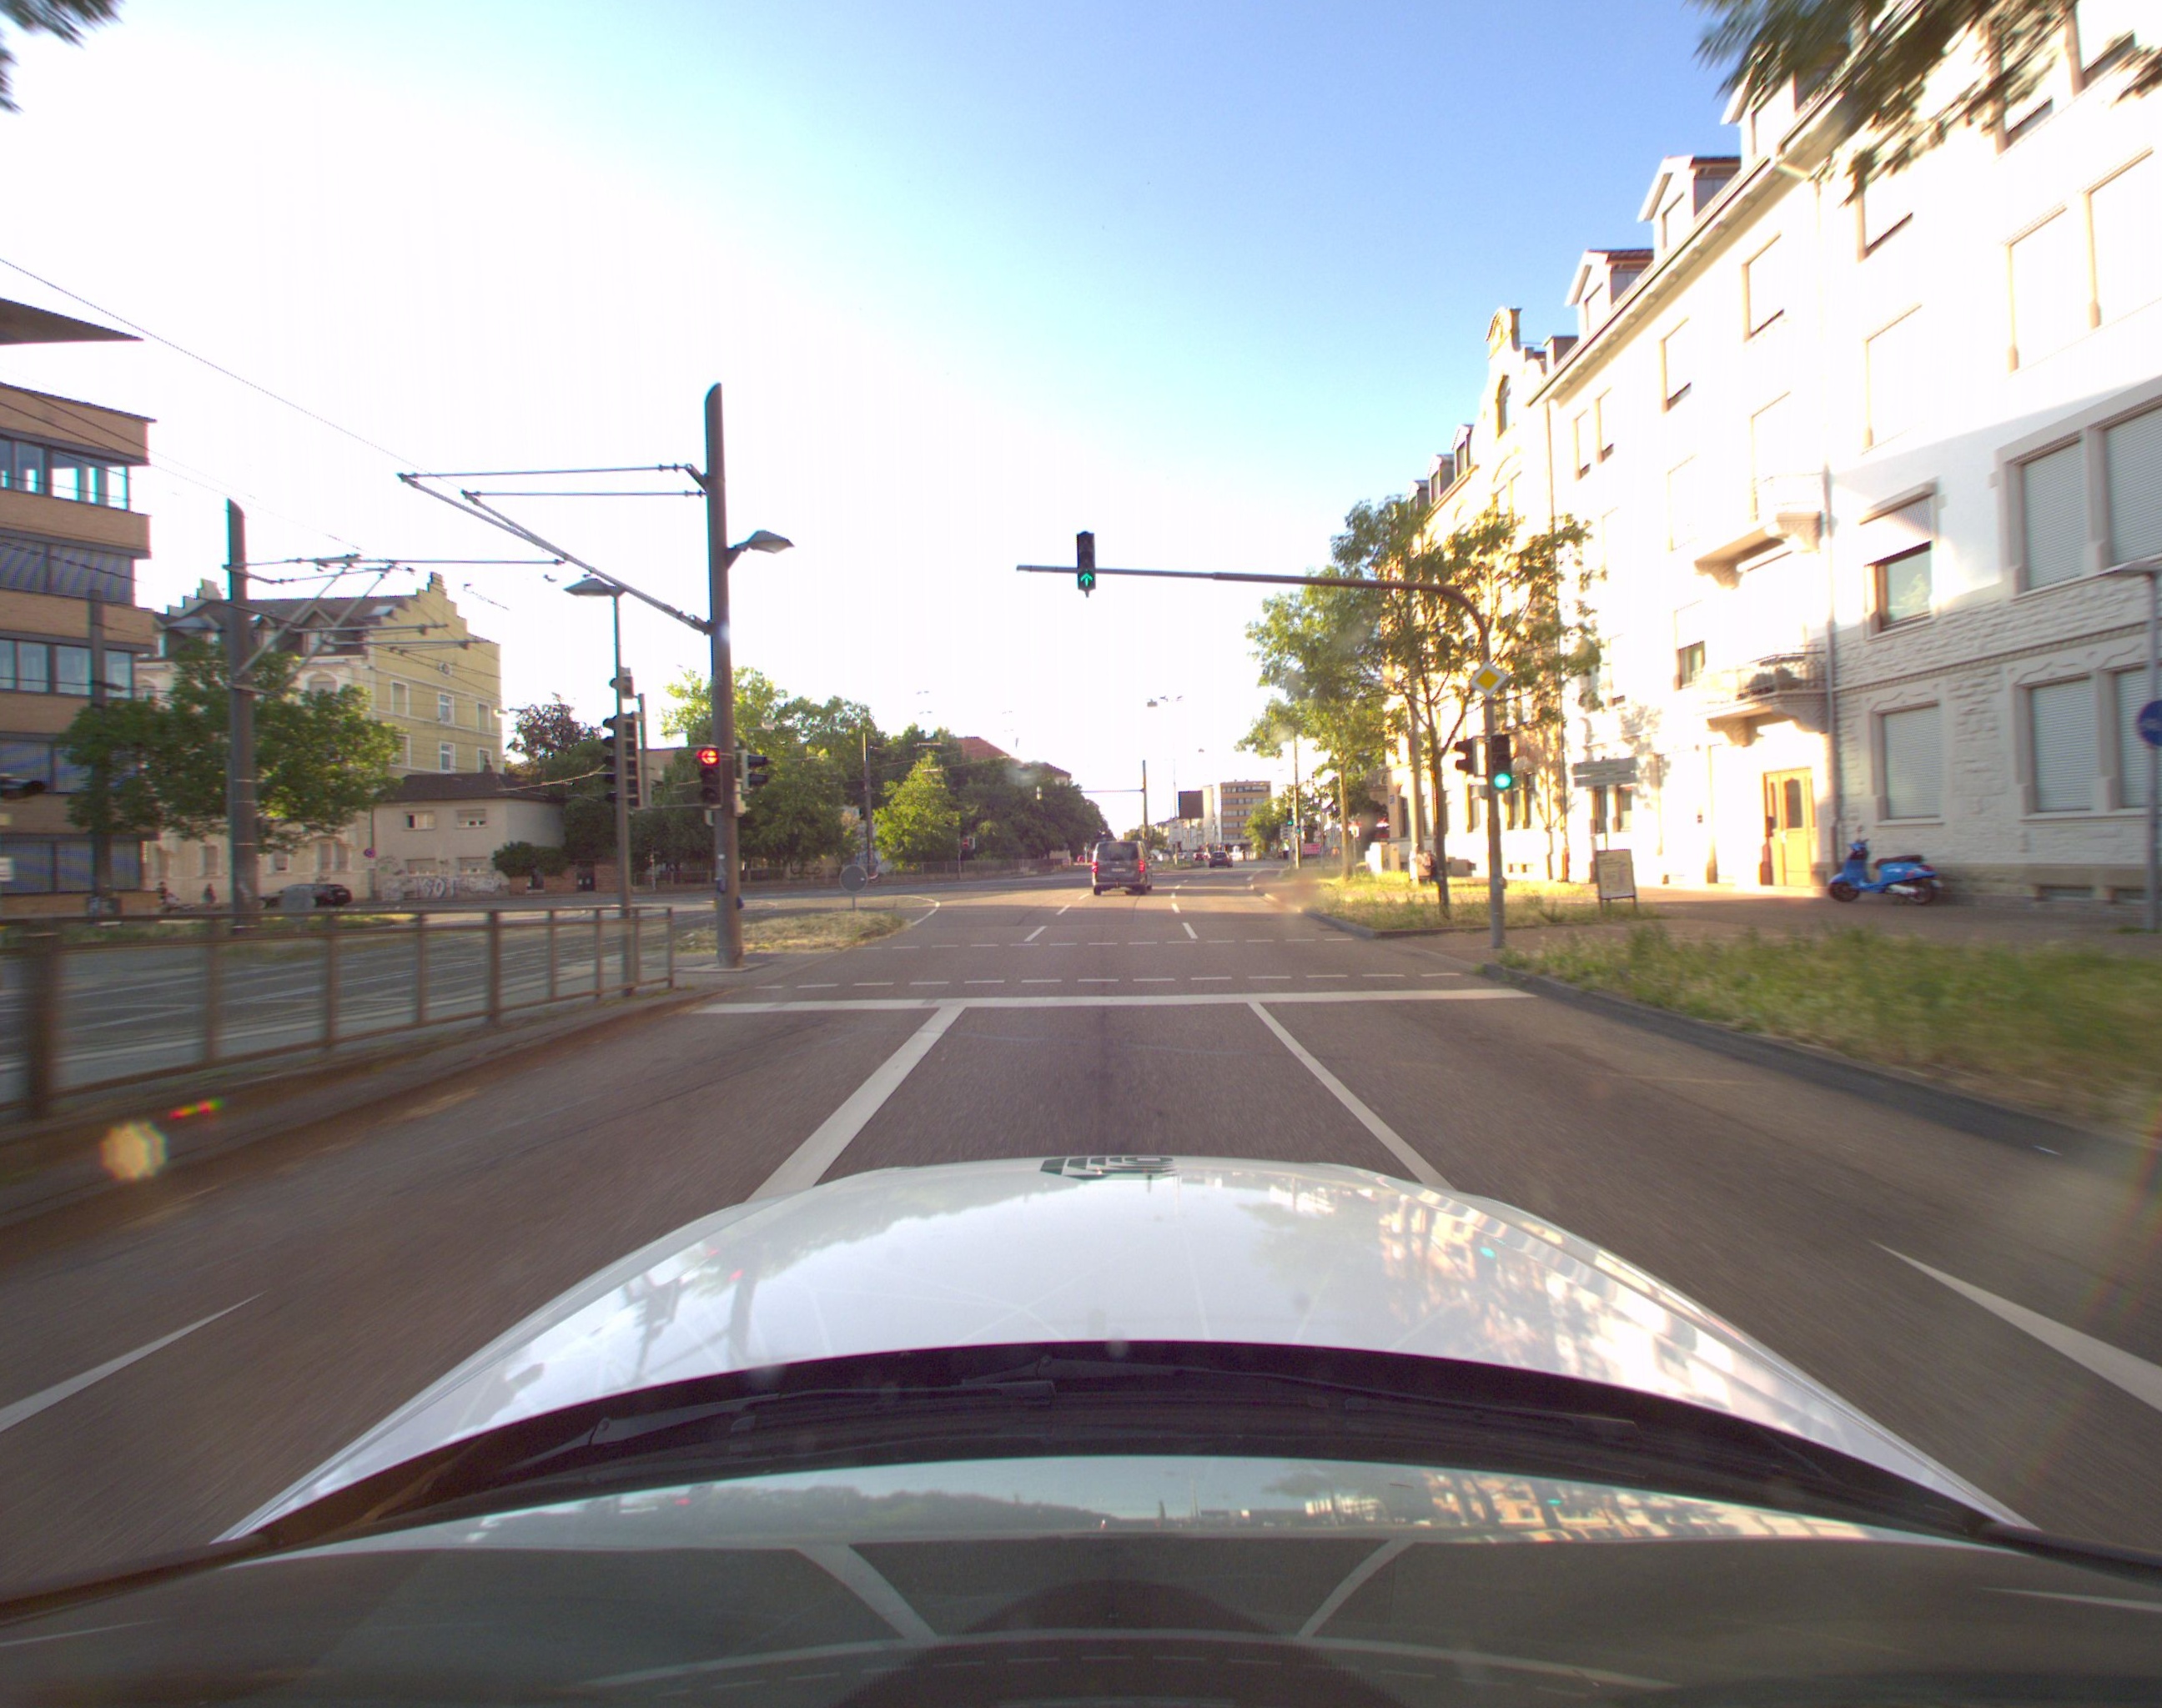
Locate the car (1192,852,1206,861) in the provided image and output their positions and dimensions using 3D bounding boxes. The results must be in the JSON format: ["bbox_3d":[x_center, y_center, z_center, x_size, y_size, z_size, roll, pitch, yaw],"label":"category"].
[{"bbox_3d":[21.326,0.455,147.487,1.985,1.656,4.302,-2,0,2],"label":"car"}]

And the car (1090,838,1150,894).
[{"bbox_3d":[1.507,0.405,29.793,1.984,1.901,4.305,0,0,5],"label":"car"}]

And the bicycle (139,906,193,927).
[{"bbox_3d":[-41.165,2.812,36.639,1.680,0.833,0.658,-2,0,1],"label":"bicycle"}]

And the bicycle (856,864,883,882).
[{"bbox_3d":[-14.498,1.312,55.792,1.731,1.142,0.552,-2,0,-41],"label":"bicycle"}]

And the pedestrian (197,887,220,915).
[{"bbox_3d":[-54.538,2.909,50.903,0.712,1.705,0.586,-2,0,0],"label":"pedestrian"}]

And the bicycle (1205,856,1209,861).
[{"bbox_3d":[23.621,0.851,152.698,0.531,0.847,1.684,-2,0,2],"label":"bicycle"}]

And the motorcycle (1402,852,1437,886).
[{"bbox_3d":[10.935,0.455,26.351,0.601,1.044,1.748,-2,0,8],"label":"motorcycle"}]

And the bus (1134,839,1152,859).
[{"bbox_3d":[15.062,-1.207,197.779,3.281,4.617,9.992,0,0,-2],"label":"bus"}]

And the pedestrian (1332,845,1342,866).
[{"bbox_3d":[19.969,0.117,63.526,0.548,1.628,0.702,-2,0,10],"label":"pedestrian"}]

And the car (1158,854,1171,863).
[{"bbox_3d":[15.568,0.826,151.992,1.988,1.656,4.296,-2,0,-1],"label":"car"}]

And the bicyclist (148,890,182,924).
[{"bbox_3d":[-41.230,2.388,36.647,0.738,1.453,0.667,-2,0,1],"label":"bicyclist"}]

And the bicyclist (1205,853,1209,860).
[{"bbox_3d":[23.606,0.472,152.794,0.539,1.459,0.641,-2,-1,2],"label":"bicyclist"}]

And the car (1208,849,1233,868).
[{"bbox_3d":[12.162,0.379,70.787,1.832,1.544,3.646,-2,0,15],"label":"car"}]

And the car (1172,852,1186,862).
[{"bbox_3d":[18.387,0.581,152.822,1.988,1.656,4.296,-2,0,-1],"label":"car"}]

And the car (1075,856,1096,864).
[{"bbox_3d":[0.980,1.351,174.711,3.996,1.595,1.989,-2,0,-17],"label":"car"}]

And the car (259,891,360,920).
[{"bbox_3d":[-45.858,3.052,48.470,3.974,1.486,2.000,-2,0,0],"label":"car"}]

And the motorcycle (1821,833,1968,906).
[{"bbox_3d":[14.463,0.270,14.572,0.552,1.214,2.072,-1,-1,0],"label":"motorcycle"}]
